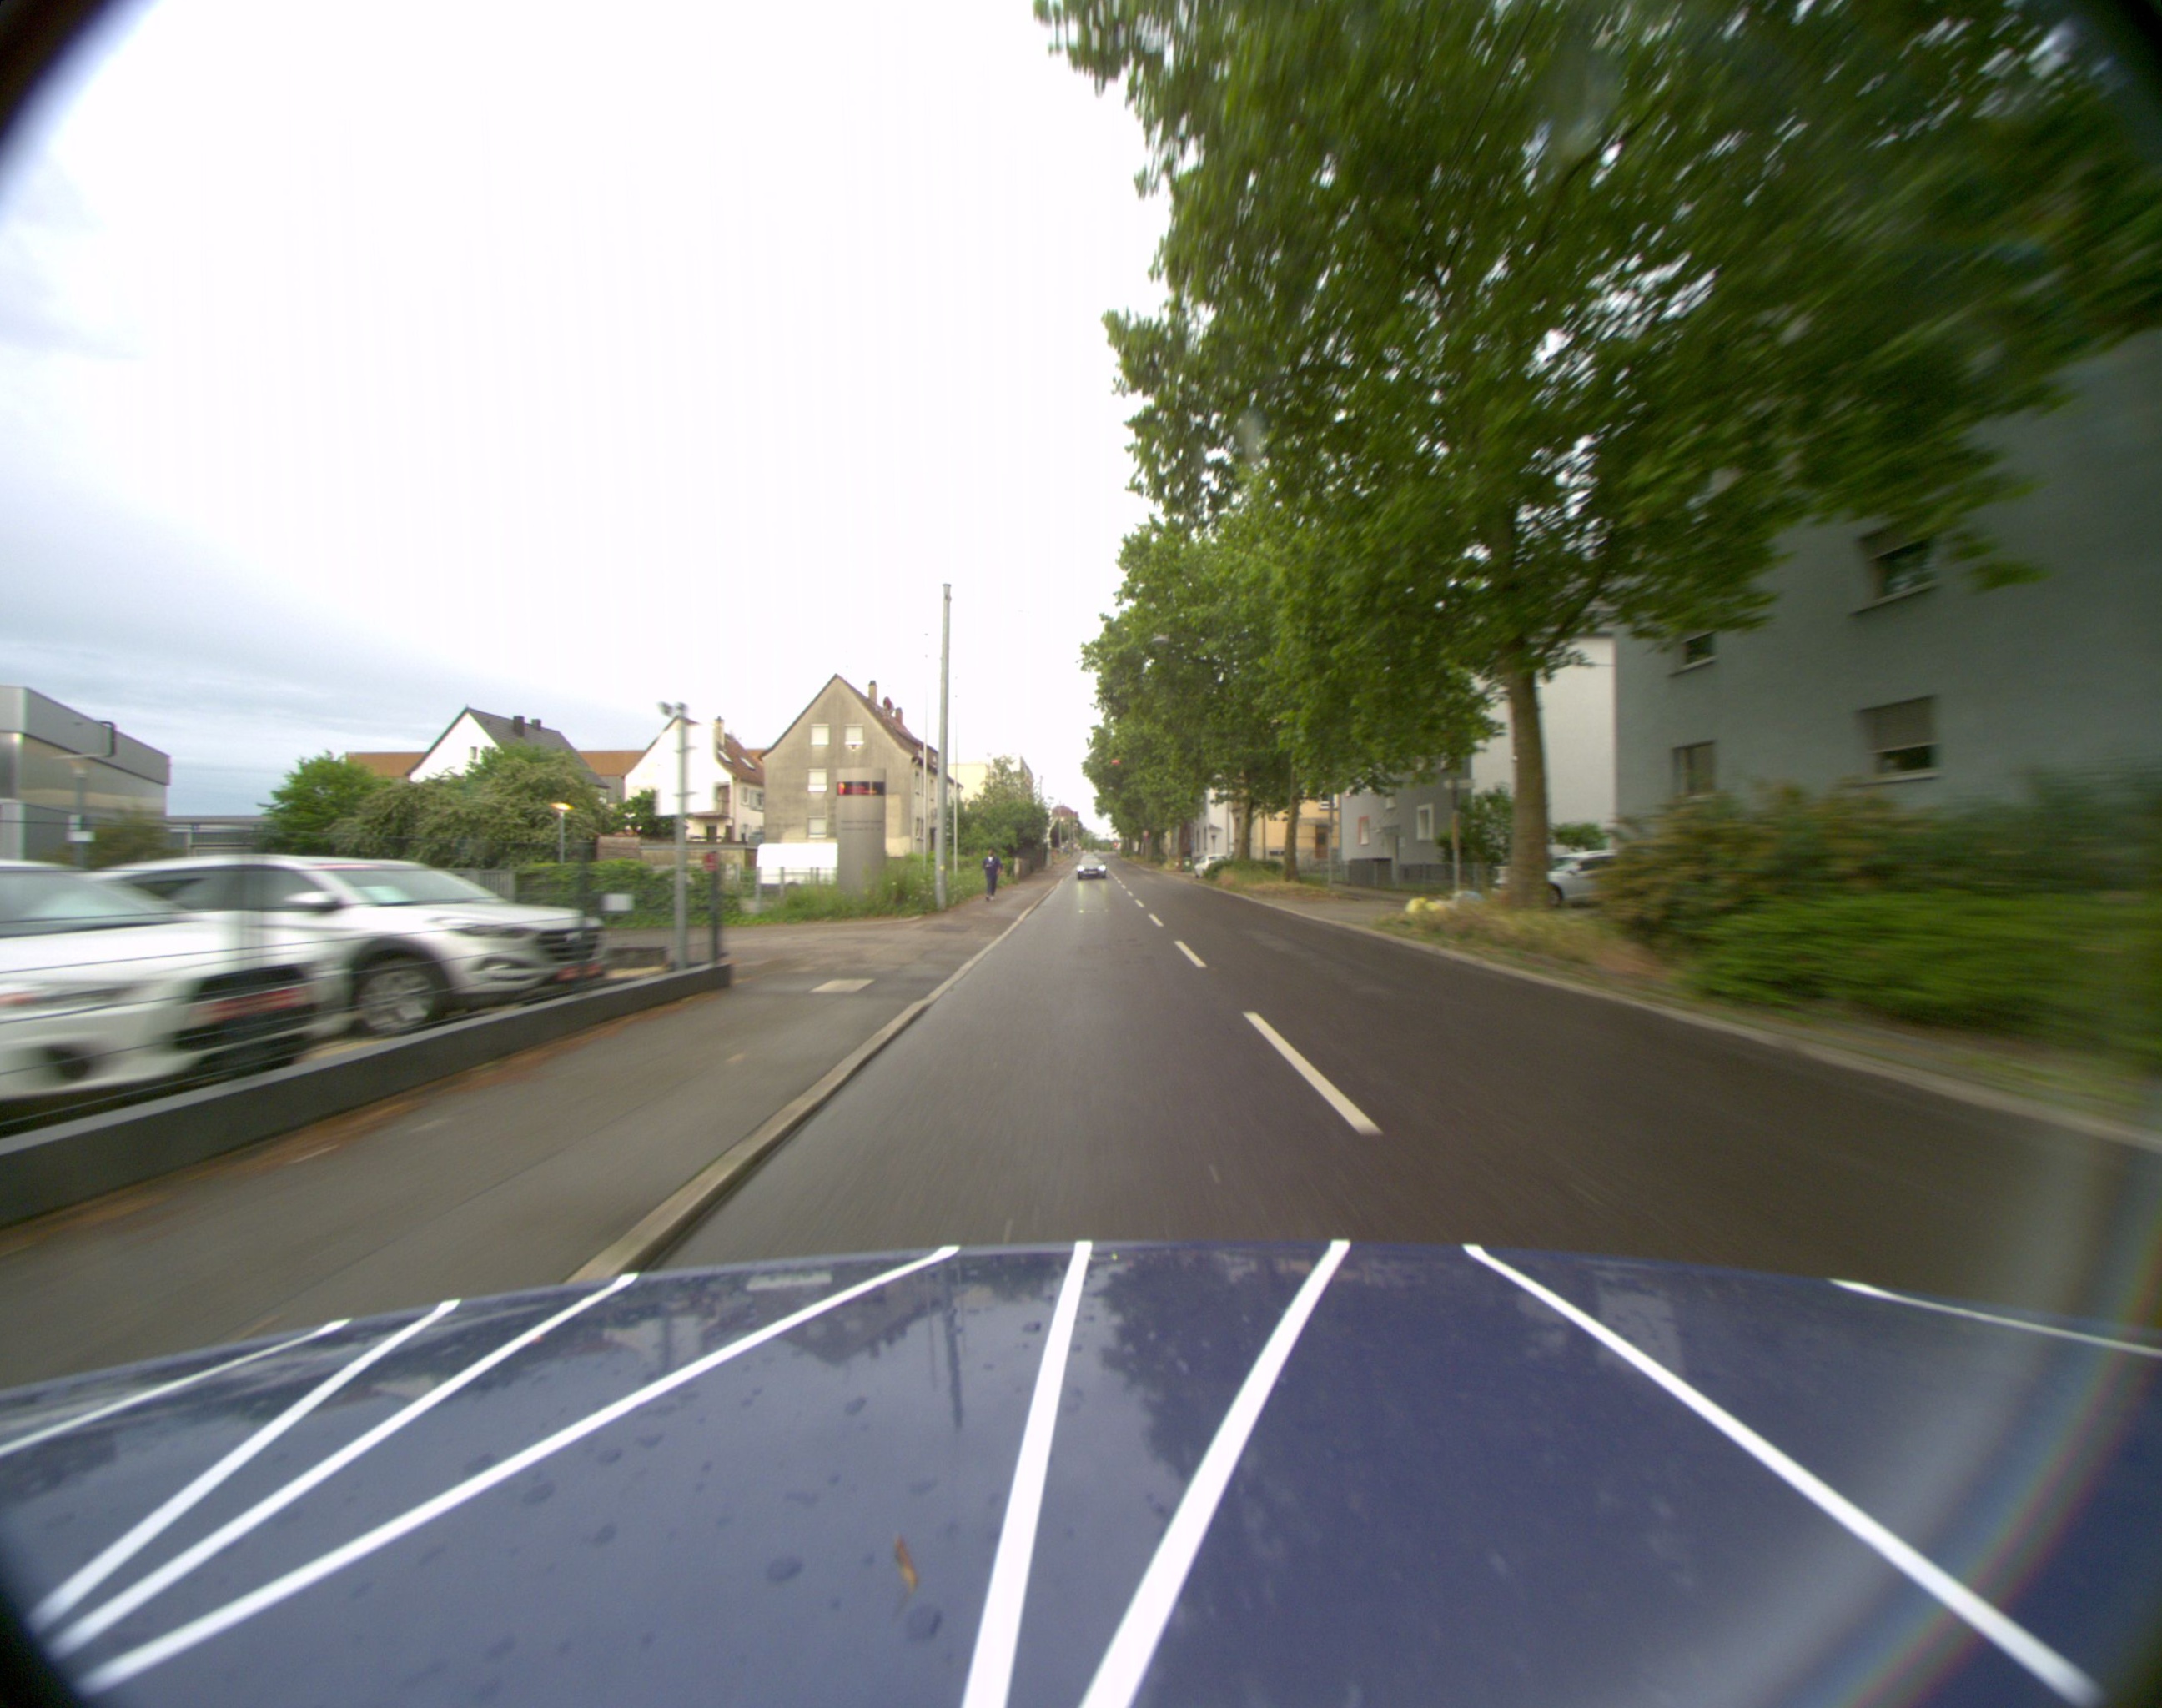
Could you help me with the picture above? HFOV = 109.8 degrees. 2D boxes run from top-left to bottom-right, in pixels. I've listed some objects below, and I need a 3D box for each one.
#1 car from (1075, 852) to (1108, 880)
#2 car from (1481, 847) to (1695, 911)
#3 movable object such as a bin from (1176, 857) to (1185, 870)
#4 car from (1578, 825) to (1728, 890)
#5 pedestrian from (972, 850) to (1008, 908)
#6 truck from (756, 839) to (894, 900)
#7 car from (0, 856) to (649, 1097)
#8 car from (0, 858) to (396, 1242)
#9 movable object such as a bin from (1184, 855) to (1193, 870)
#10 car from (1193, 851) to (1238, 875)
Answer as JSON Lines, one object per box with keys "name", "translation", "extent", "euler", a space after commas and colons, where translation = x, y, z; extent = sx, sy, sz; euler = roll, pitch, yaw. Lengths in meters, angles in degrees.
{"name": "car", "translation": [0.638, 0.721, 48.480], "extent": [1.949, 1.644, 3.858], "euler": [-1, 1, 0]}
{"name": "car", "translation": [13.926, 0.653, 21.072], "extent": [4.674, 1.468, 1.869], "euler": [-2, 1, 1]}
{"name": "movable object such as a bin", "translation": [7.181, 0.656, 54.819], "extent": [0.513, 0.922, 0.581], "euler": [0, 2, 1]}
{"name": "car", "translation": [18.815, 0.050, 25.300], "extent": [1.888, 1.909, 4.553], "euler": [-2, 1, 6]}
{"name": "pedestrian", "translation": [-3.049, 0.826, 25.503], "extent": [1.045, 1.886, 0.900], "euler": [-1, 2, 1]}
{"name": "truck", "translation": [-12.344, 0.702, 36.937], "extent": [5.859, 2.622, 2.043], "euler": [-2, 2, 0]}
{"name": "car", "translation": [-6.800, 0.997, 7.090], "extent": [4.313, 1.758, 2.000], "euler": [-2, 1, 1]}
{"name": "car", "translation": [-6.772, 0.979, 4.374], "extent": [3.958, 1.714, 1.791], "euler": [-2, 1, 1]}
{"name": "movable object such as a bin", "translation": [7.781, 0.593, 54.843], "extent": [0.536, 1.051, 0.762], "euler": [0, 2, 1]}
{"name": "car", "translation": [8.065, 0.514, 45.928], "extent": [1.760, 1.318, 4.537], "euler": [-2, 1, -2]}
